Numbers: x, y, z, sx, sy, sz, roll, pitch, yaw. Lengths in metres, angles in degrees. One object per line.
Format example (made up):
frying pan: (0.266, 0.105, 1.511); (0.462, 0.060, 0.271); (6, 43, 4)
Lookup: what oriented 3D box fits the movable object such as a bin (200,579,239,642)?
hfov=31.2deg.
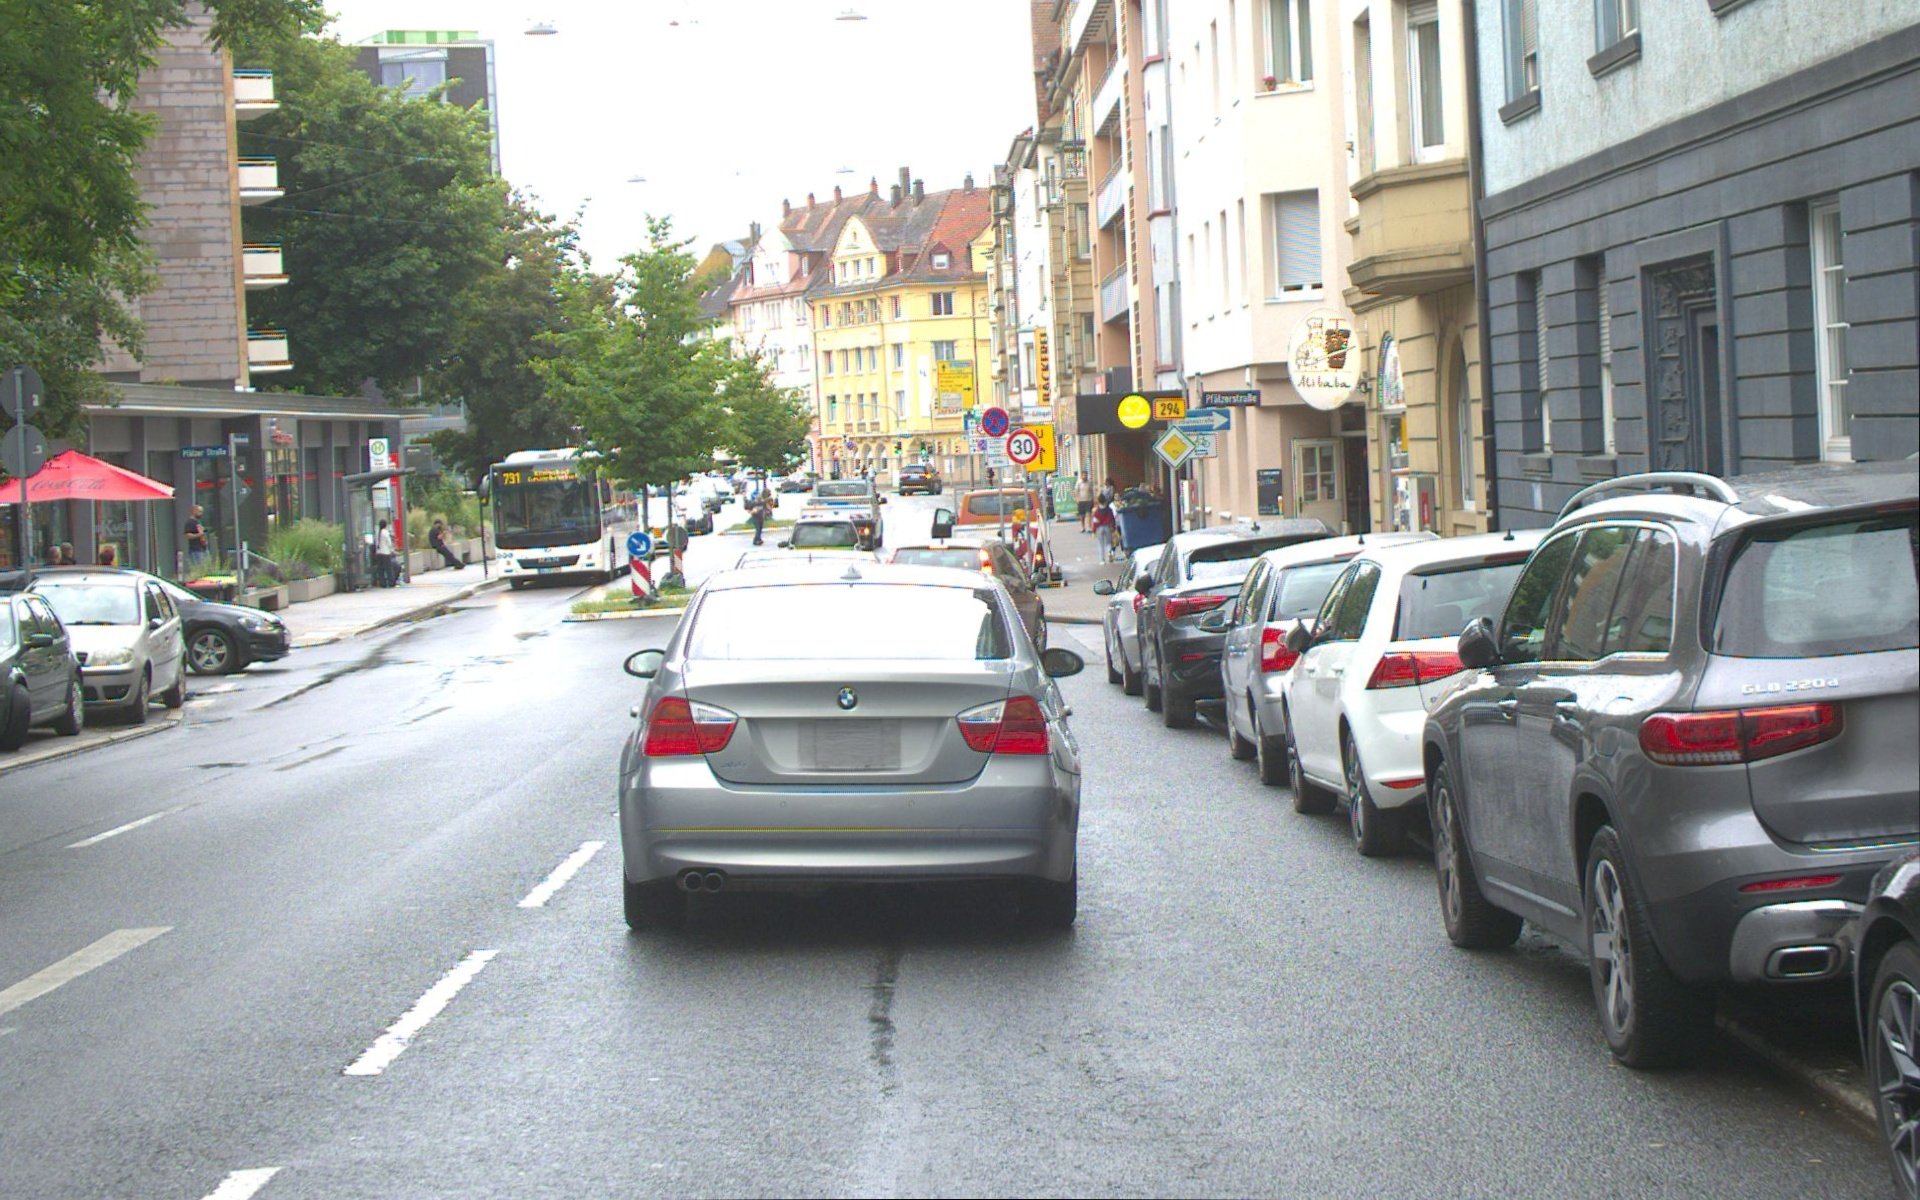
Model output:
movable object such as a bin: (-12.992, 0.178, 60.329); (0.490, 1.077, 0.606); (-3, 0, 0)

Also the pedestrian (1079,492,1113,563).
pedestrian: (3.237, -1.720, 81.555); (0.749, 1.655, 0.836); (1, 0, 5)

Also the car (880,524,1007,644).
car: (-0.174, -0.192, 41.028); (1.435, 1.352, 3.762); (1, 0, 0)

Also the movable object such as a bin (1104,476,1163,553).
movable object such as a bin: (3.987, -1.961, 78.989); (1.122, 1.697, 1.434); (-3, 0, -3)

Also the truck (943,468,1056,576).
truck: (0.865, -1.606, 72.009); (2.215, 2.109, 4.652); (2, 1, 2)

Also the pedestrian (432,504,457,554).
pedestrian: (-14.273, -1.963, 95.184); (0.619, 1.373, 0.544); (1, 0, 0)

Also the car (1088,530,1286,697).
car: (2.202, 0.092, 34.216); (1.569, 1.459, 4.089); (-4, 1, 0)

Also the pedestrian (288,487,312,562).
pedestrian: (-15.808, -1.800, 82.383); (0.542, 1.783, 0.508); (1, 0, -10)

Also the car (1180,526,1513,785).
car: (2.440, 0.297, 22.464); (1.583, 1.424, 3.595); (-5, 1, -1)

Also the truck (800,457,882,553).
truck: (-3.309, -2.612, 95.840); (2.216, 2.535, 4.780); (1, 0, -2)

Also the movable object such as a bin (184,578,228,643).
movable object such as a bin: (-13.024, 0.177, 59.365); (0.554, 1.077, 0.731); (-3, 0, 0)

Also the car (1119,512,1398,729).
car: (2.398, 0.116, 28.612); (1.818, 1.552, 4.293); (-4, 1, 0)

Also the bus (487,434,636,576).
bus: (-9.745, -2.226, 85.148); (2.681, 3.189, 11.957); (1, 0, -2)

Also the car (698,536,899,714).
car: (-1.397, 0.198, 29.338); (1.601, 1.415, 3.288); (1, 0, -3)

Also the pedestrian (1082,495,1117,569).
pedestrian: (3.132, -1.526, 77.241); (0.750, 1.655, 0.754); (1, 0, 1)

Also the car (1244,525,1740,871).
car: (2.578, 0.399, 17.562); (1.729, 1.424, 3.974); (-5, 1, -1)

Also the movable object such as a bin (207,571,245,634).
movable object such as a bin: (-13.082, 0.043, 61.301); (0.490, 1.077, 0.606); (-3, 0, 0)

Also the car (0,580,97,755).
car: (-9.169, 0.604, 31.486); (1.653, 1.449, 3.943); (-2, 1, -3)

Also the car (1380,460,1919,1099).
car: (2.646, 0.409, 11.046); (1.840, 1.615, 4.208); (-3, 1, -2)

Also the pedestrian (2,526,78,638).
pedestrian: (-14.475, -0.290, 54.117); (1.062, 1.725, 0.714); (-2, 2, -11)

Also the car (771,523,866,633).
car: (-2.692, -0.410, 64.795); (1.705, 2.007, 4.000); (1, 0, -3)

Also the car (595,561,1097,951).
car: (-0.432, 0.544, 13.730); (1.756, 1.358, 3.165); (-1, 0, -1)

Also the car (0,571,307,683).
car: (-10.603, 0.345, 44.916); (3.815, 1.385, 1.743); (-1, 0, -2)

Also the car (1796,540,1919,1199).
car: (2.965, 0.552, 5.729); (1.840, 1.404, 4.388); (-4, 1, -2)

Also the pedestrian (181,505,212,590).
pedestrian: (-16.113, -1.095, 72.539); (0.465, 1.783, 0.544); (1, 0, 7)

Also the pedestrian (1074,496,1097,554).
pedestrian: (3.664, -2.179, 100.079); (0.615, 1.655, 0.754); (1, 0, 5)

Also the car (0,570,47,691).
car: (-13.340, 0.433, 42.016); (3.816, 1.385, 1.743); (-2, 2, 2)

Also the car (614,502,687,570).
car: (-9.482, -1.946, 105.532); (1.993, 2.007, 4.000); (1, 0, -2)

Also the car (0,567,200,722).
car: (-9.077, 0.424, 36.026); (1.631, 1.449, 3.840); (-2, 1, -5)

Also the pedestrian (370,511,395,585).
pedestrian: (-13.315, -1.193, 79.275); (0.542, 1.703, 0.466); (1, 0, -7)
